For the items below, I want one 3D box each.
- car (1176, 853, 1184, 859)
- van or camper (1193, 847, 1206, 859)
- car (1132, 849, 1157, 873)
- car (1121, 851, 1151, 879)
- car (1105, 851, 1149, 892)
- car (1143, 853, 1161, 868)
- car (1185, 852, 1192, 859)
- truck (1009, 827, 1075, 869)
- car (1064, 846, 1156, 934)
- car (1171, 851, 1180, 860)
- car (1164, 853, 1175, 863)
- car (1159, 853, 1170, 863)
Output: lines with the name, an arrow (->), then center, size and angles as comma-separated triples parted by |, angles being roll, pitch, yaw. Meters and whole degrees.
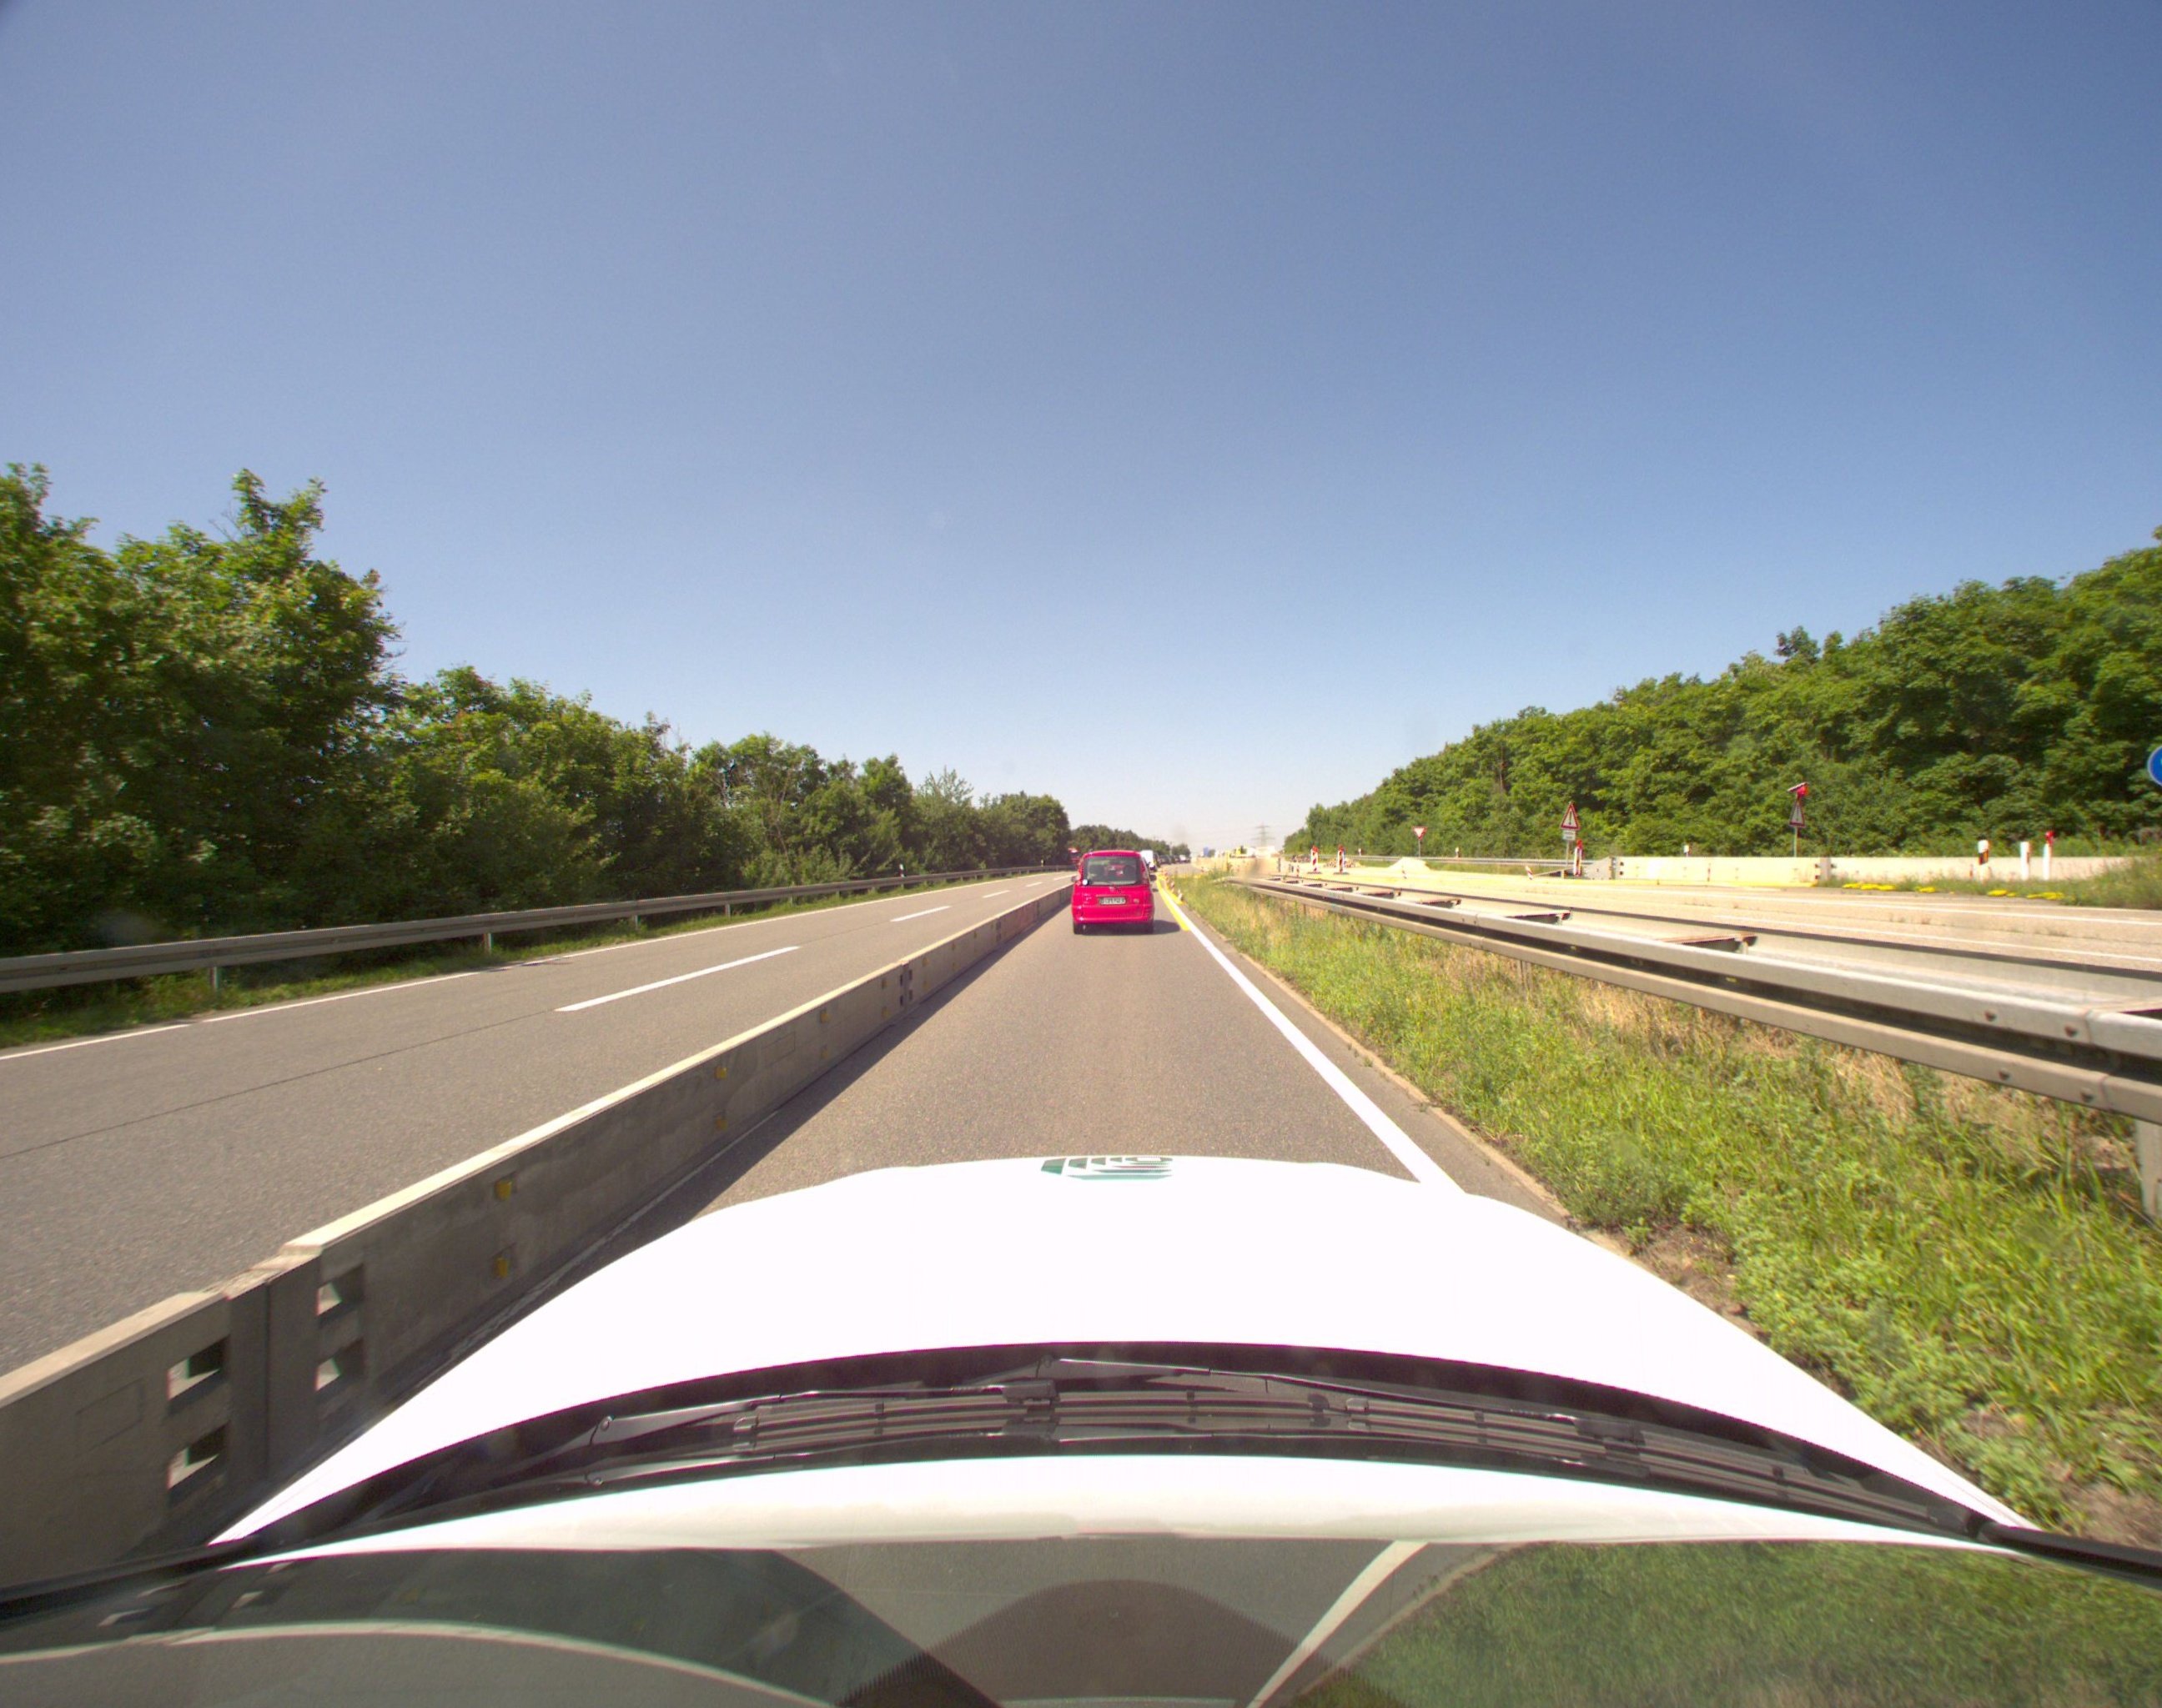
car -> 21.261, 0.447, 174.958 | 1.414, 1.298, 2.883 | -1, 0, 5
van or camper -> 27.907, -0.214, 192.249 | 2.320, 2.707, 4.593 | -2, -1, 1
car -> 5.575, 0.589, 71.422 | 1.983, 2.004, 4.008 | -1, 0, 7
car -> 3.829, 0.731, 56.311 | 1.984, 1.838, 4.005 | -1, 0, 4
car -> 2.036, 0.736, 36.035 | 1.822, 1.722, 4.003 | -1, 0, 3
car -> 8.420, 0.728, 96.618 | 1.985, 1.750, 4.004 | 0, 0, 4
car -> 24.815, 0.349, 187.423 | 1.494, 1.451, 3.175 | -1, 0, 5
truck -> -5.302, -0.748, 112.926 | 8.581, 5.375, 3.393 | -2, 0, 4
car -> 0.642, 0.705, 17.642 | 1.745, 1.673, 4.002 | -1, 0, 2
car -> 18.294, 0.291, 158.158 | 1.495, 1.736, 3.173 | -1, 0, 3
car -> 15.631, 0.686, 143.937 | 1.983, 1.585, 4.007 | -1, 0, 7
car -> 12.530, 0.606, 122.229 | 1.495, 1.450, 3.328 | -2, 0, 3
